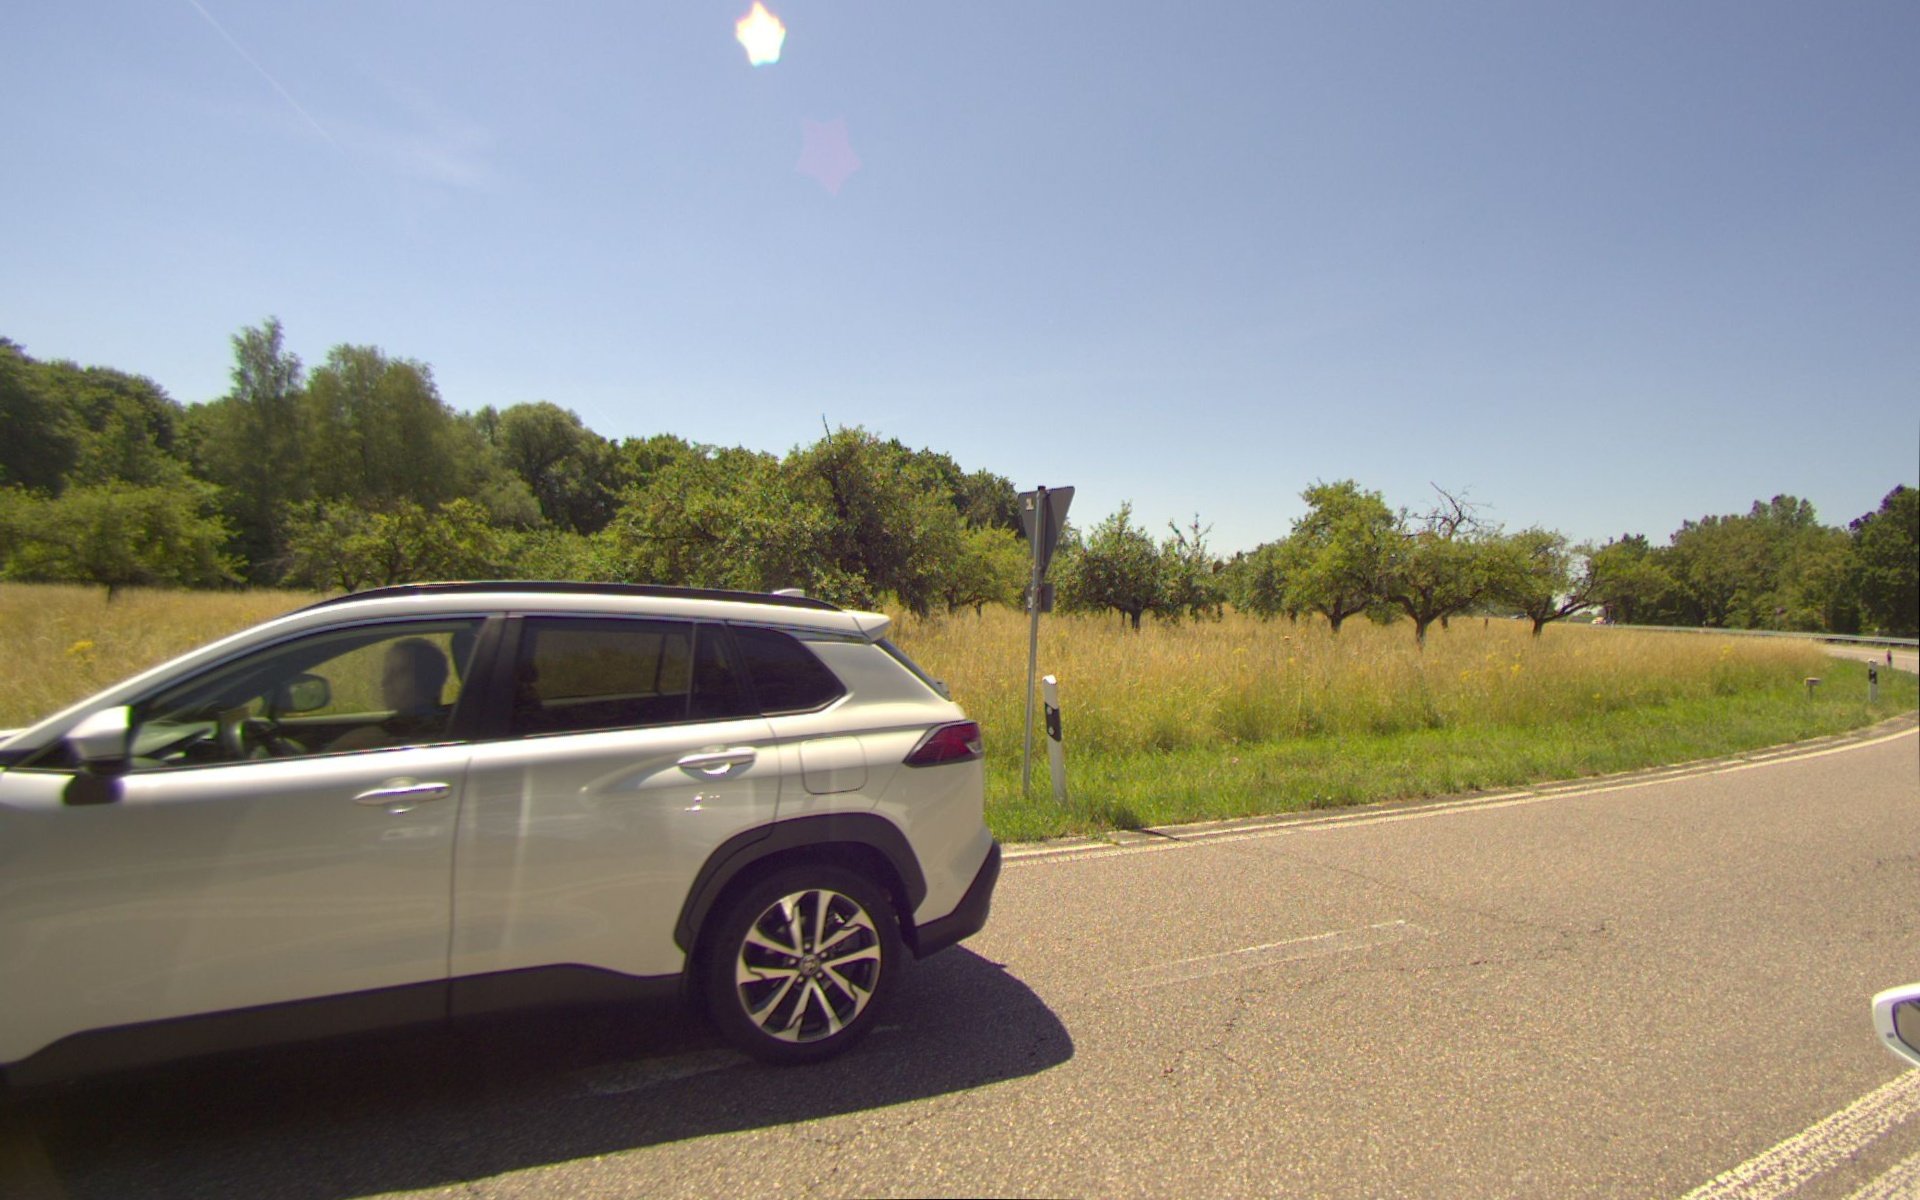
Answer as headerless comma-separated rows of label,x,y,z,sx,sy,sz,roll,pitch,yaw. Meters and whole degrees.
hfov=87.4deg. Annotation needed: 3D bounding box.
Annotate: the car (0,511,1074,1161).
car,-1.834,0.668,3.746,4.158,1.611,1.819,2,-4,-23
